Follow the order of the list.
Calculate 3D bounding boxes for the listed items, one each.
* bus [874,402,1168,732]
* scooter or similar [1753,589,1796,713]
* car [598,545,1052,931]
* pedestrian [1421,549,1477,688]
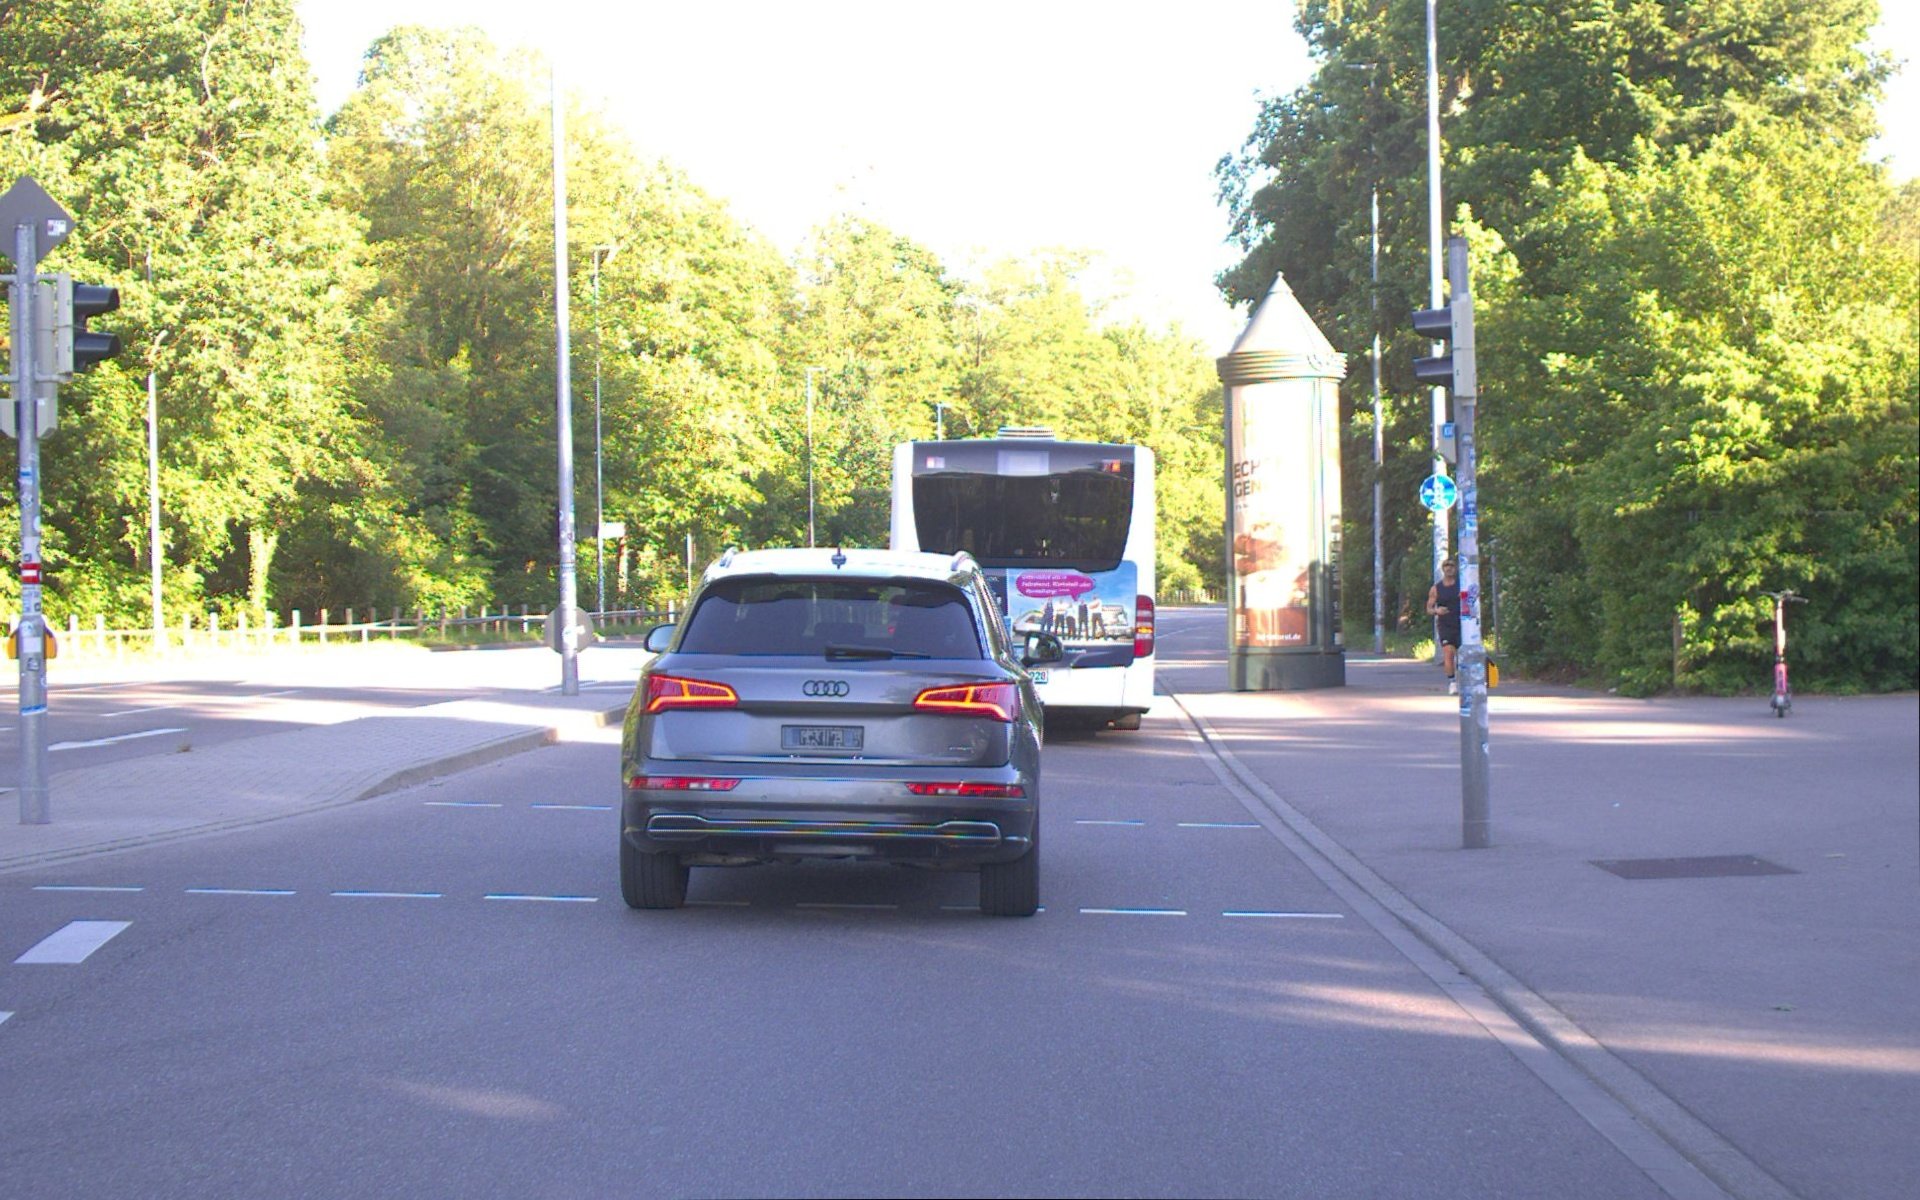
[{"bbox_3d":[0.560,-0.326,37.935,2.689,3.032,12.041,1,0,0],"label":"bus"},{"bbox_3d":[7.957,0.487,33.598,0.281,1.167,1.408,-2,1,9],"label":"scooter or similar"},{"bbox_3d":[-0.571,0.566,16.785,1.893,1.600,4.544,1,0,0],"label":"car"},{"bbox_3d":[6.000,0.223,42.177,0.626,1.682,0.882,1,0,10],"label":"pedestrian"}]
